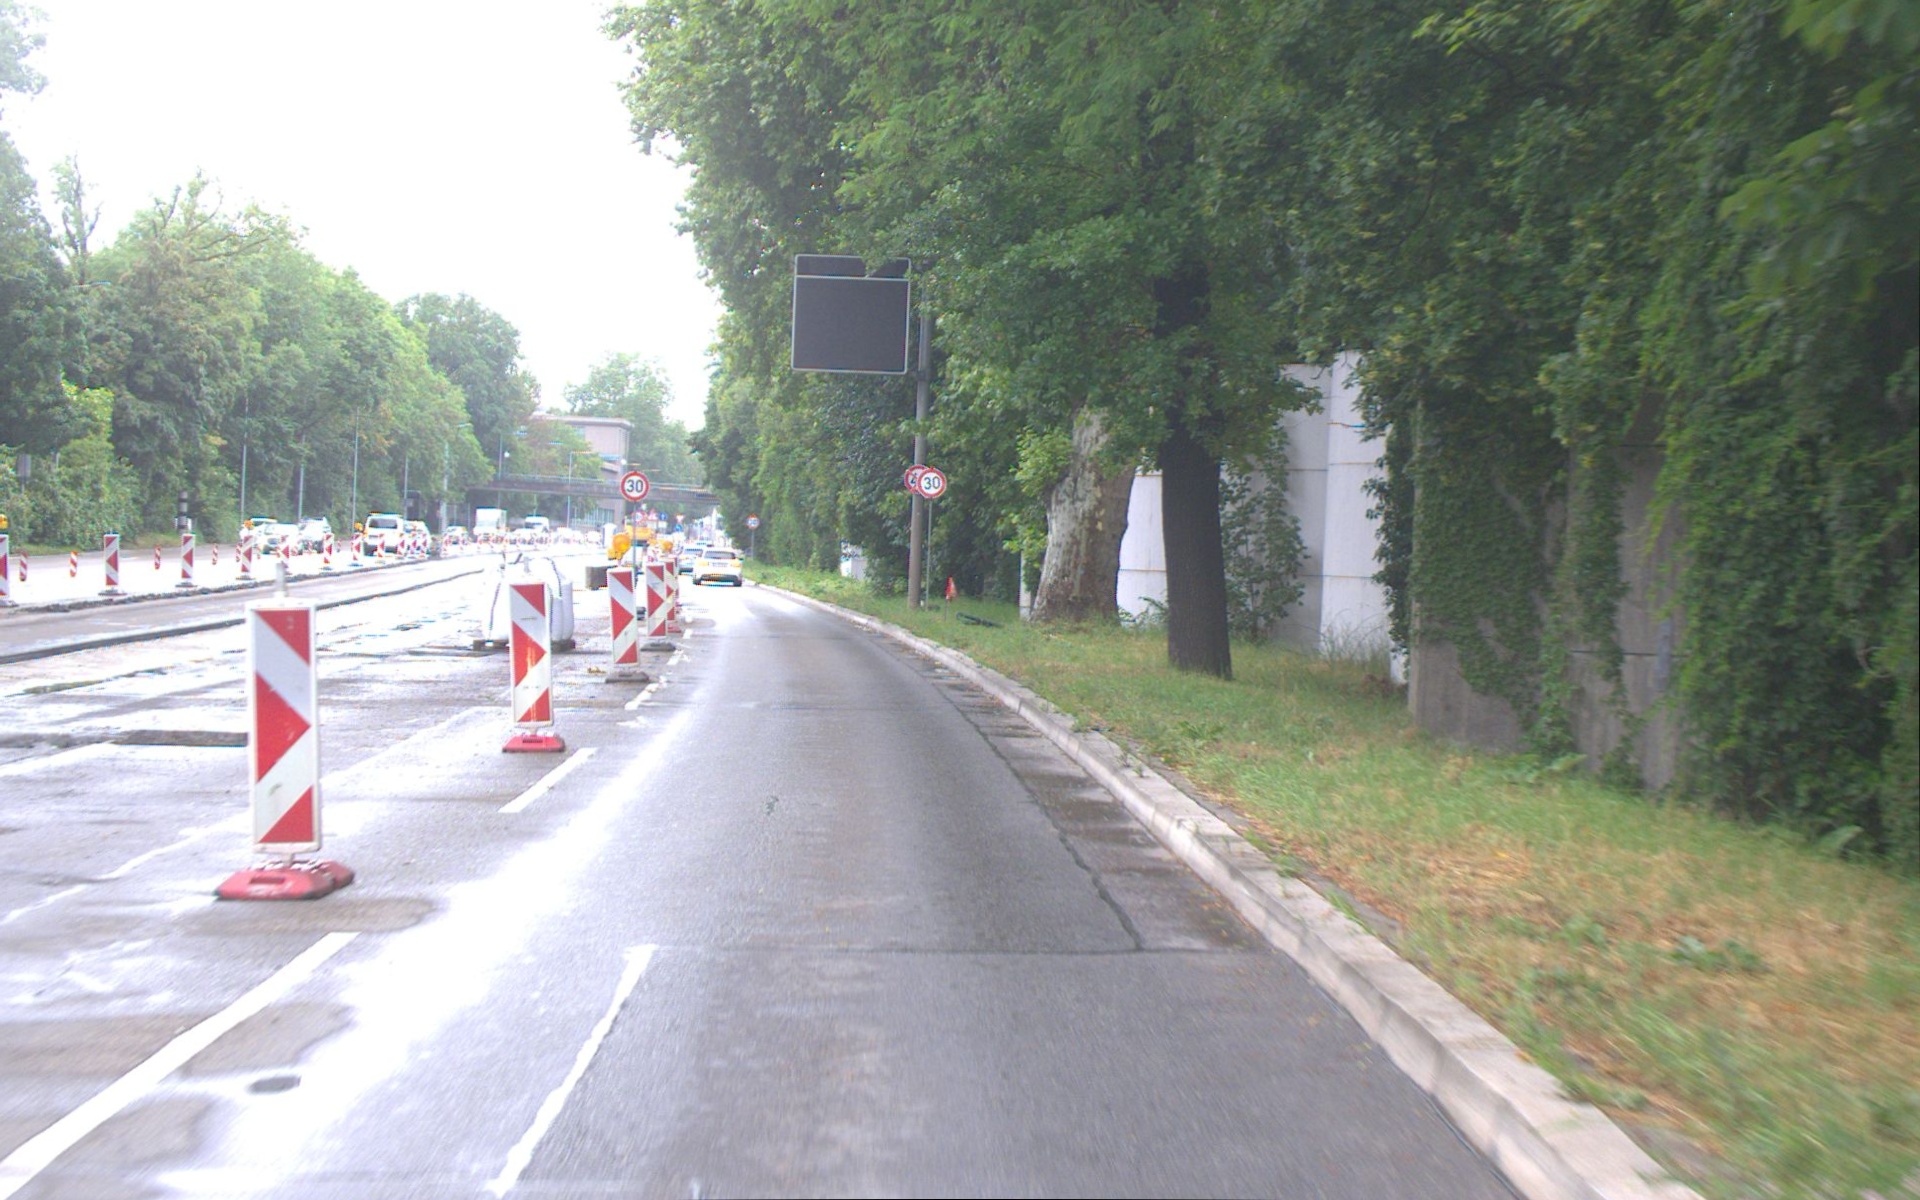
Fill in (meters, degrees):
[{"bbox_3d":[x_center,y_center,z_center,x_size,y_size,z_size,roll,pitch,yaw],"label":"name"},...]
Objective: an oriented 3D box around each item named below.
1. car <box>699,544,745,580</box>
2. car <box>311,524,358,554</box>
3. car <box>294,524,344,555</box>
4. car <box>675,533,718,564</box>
[{"bbox_3d":[-9.138,-1.461,131.706,1.697,1.331,3.492,0,1,-5],"label":"car"},{"bbox_3d":[-29.565,-2.902,162.669,1.817,1.351,4.206,1,1,-5],"label":"car"},{"bbox_3d":[-29.269,-2.779,157.118,1.817,1.351,4.391,1,1,-5],"label":"car"},{"bbox_3d":[-12.710,-2.467,165.821,1.855,1.428,3.731,1,0,-1],"label":"car"}]
